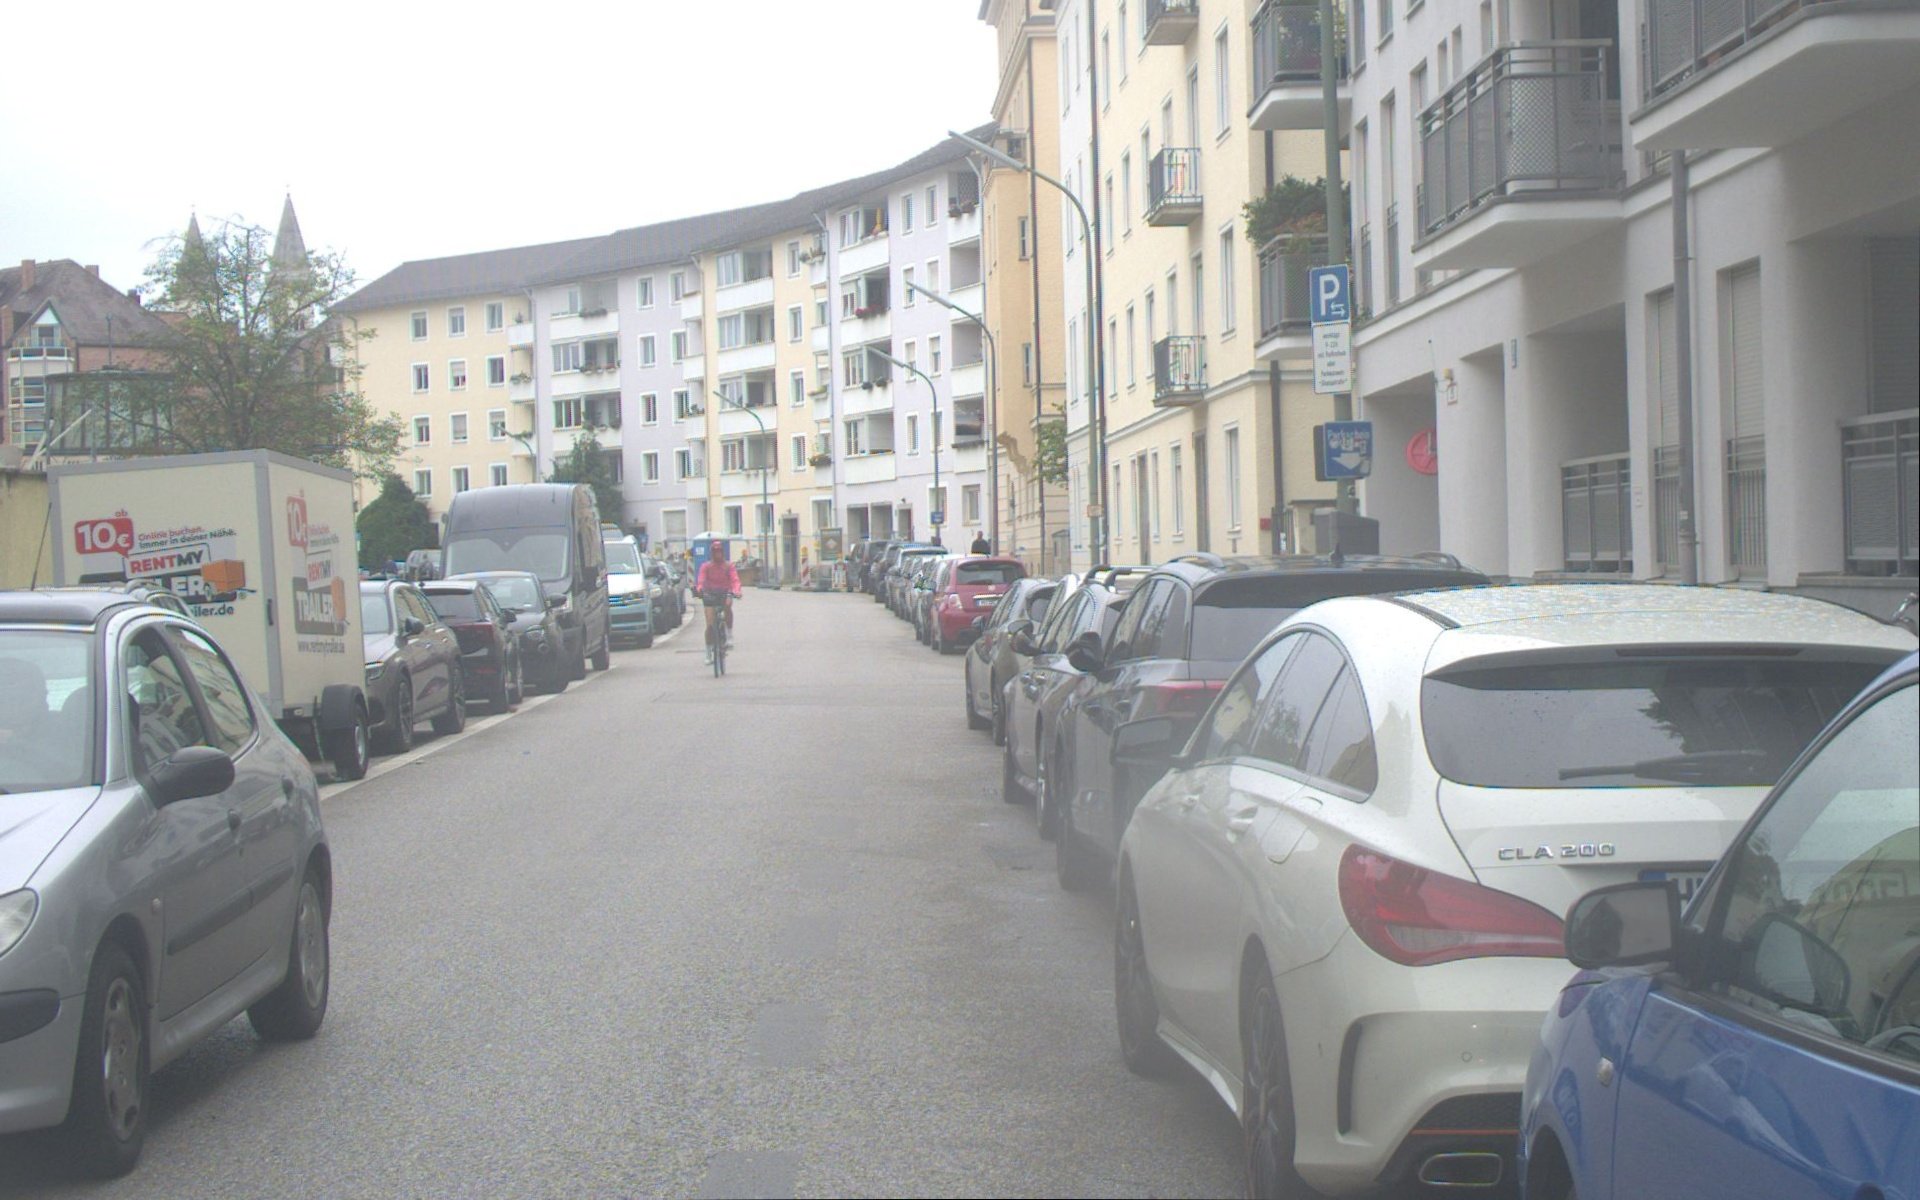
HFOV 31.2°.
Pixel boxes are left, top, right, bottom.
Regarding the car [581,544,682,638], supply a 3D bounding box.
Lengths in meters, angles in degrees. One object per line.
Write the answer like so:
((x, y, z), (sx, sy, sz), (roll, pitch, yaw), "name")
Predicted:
((-6.422, -0.210, 67.563), (1.701, 1.685, 4.028), (-3, 1, -3), "car")

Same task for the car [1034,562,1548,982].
((1.279, 0.622, 14.800), (1.603, 1.525, 3.985), (1, 1, -3), "car")

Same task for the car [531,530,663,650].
((-6.332, -0.220, 60.450), (1.882, 1.925, 4.601), (-3, 1, -2), "car")

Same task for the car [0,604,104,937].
((-5.056, 0.782, 14.685), (1.860, 1.408, 4.334), (-3, 0, -3), "car")

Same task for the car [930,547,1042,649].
((0.382, -0.056, 54.180), (1.595, 1.503, 3.801), (-1, 1, -1), "car")

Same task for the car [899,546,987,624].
((-0.363, -0.322, 70.068), (1.599, 1.486, 3.799), (-1, 1, -3), "car")

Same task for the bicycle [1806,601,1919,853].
((4.822, 0.605, 16.940), (0.627, 1.156, 2.128), (-2, 1, -4), "bicycle")

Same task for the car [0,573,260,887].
((-5.322, 0.704, 20.222), (1.686, 1.597, 3.922), (-3, 1, -3), "car")

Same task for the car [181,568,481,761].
((-5.653, 0.529, 31.422), (1.766, 1.533, 4.541), (-3, 1, 1), "car")

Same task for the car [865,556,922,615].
((-1.933, -0.427, 99.192), (1.474, 1.635, 4.001), (0, 1, -3), "car")

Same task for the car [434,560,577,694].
((-5.595, 0.305, 42.615), (1.585, 1.533, 3.544), (-2, 1, -6), "car")

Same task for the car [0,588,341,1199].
((-2.783, 0.700, 9.281), (1.581, 1.406, 3.613), (-2, 0, -1), "car")

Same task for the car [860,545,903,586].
((-2.529, -1.122, 110.940), (1.272, 1.294, 2.798), (-1, 1, -3), "car")

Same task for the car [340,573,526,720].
((-5.733, 0.466, 37.762), (1.700, 1.441, 3.825), (-1, 2, -4), "car")

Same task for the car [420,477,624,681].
((-5.991, -0.344, 47.666), (2.088, 2.627, 5.377), (-1, 1, 0), "car")

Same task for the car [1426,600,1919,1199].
((1.713, 0.730, 4.115), (1.618, 1.407, 3.554), (1, 0, -3), "car")

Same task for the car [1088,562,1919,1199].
((1.343, 0.648, 8.469), (1.658, 1.435, 4.207), (1, 1, -3), "car")

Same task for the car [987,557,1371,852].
((1.181, 0.527, 20.502), (1.734, 1.525, 4.622), (1, 1, -3), "car")

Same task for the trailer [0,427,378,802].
((-5.644, 0.059, 25.510), (1.709, 2.453, 4.386), (-3, 1, 1), "trailer")

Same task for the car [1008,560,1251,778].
((1.225, 0.470, 26.113), (1.519, 1.525, 3.527), (0, 1, -2), "car")

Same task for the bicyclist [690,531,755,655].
((-3.073, -0.098, 44.521), (0.694, 1.556, 0.966), (-2, 1, 1), "bicyclist")

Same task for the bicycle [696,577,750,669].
((-3.065, 0.286, 44.585), (0.504, 1.124, 1.773), (-2, 1, 1), "bicycle")

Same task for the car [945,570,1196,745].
((0.900, 0.461, 30.293), (1.763, 1.403, 4.079), (-1, 0, -4), "car")
